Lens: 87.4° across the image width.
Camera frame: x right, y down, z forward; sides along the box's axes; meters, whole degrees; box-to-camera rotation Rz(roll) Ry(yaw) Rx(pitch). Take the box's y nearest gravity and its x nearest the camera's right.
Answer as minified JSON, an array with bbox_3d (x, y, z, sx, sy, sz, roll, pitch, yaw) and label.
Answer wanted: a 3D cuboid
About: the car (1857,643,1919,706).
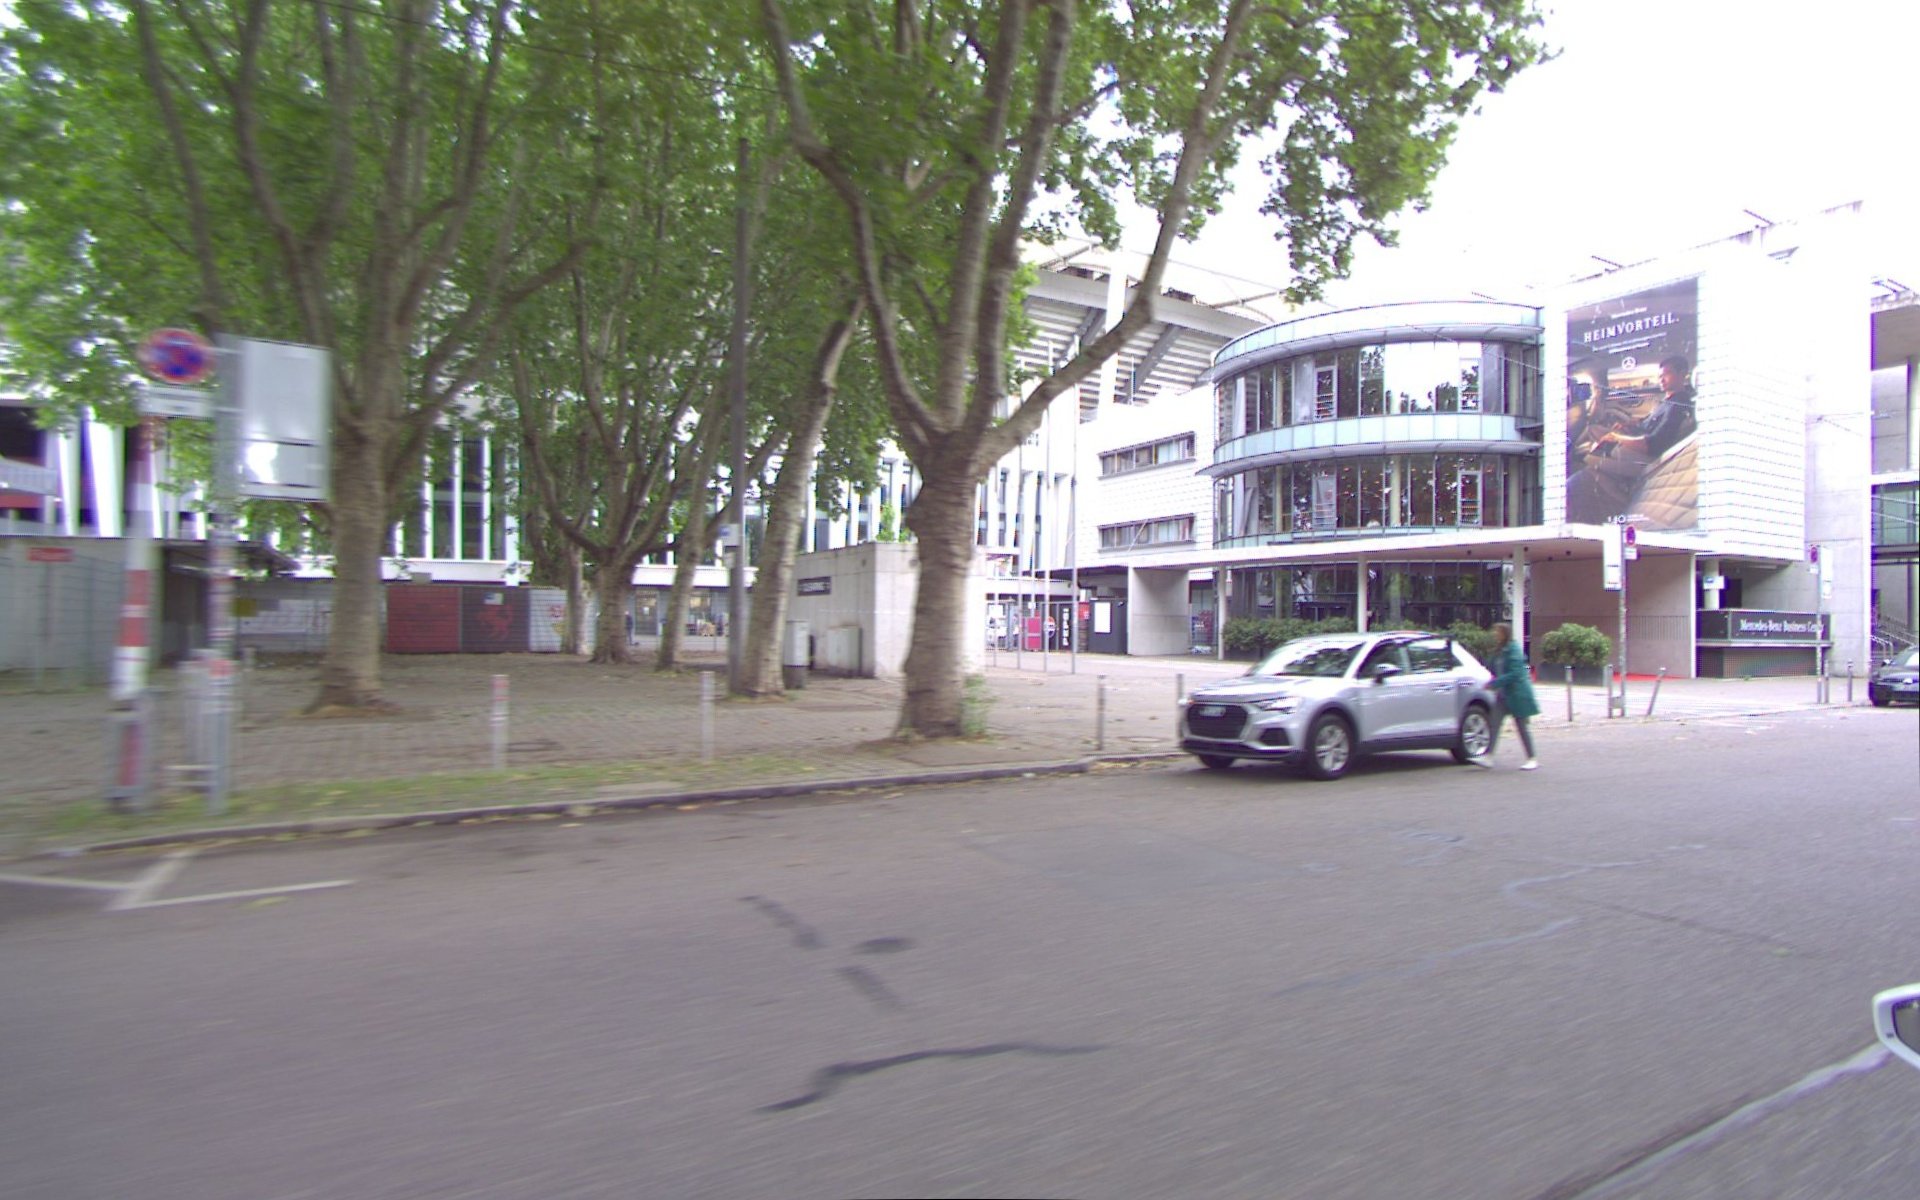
[{"bbox_3d":[23.685,1.761,24.286,4.274,1.438,1.697,1,-4,-30],"label":"car"}]

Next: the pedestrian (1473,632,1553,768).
[{"bbox_3d":[6.313,1.122,11.476,0.560,1.486,0.581,1,0,-27],"label":"pedestrian"}]

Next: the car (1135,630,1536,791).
[{"bbox_3d":[4.595,1.171,12.138,4.700,1.583,2.064,1,-1,-30],"label":"car"}]
